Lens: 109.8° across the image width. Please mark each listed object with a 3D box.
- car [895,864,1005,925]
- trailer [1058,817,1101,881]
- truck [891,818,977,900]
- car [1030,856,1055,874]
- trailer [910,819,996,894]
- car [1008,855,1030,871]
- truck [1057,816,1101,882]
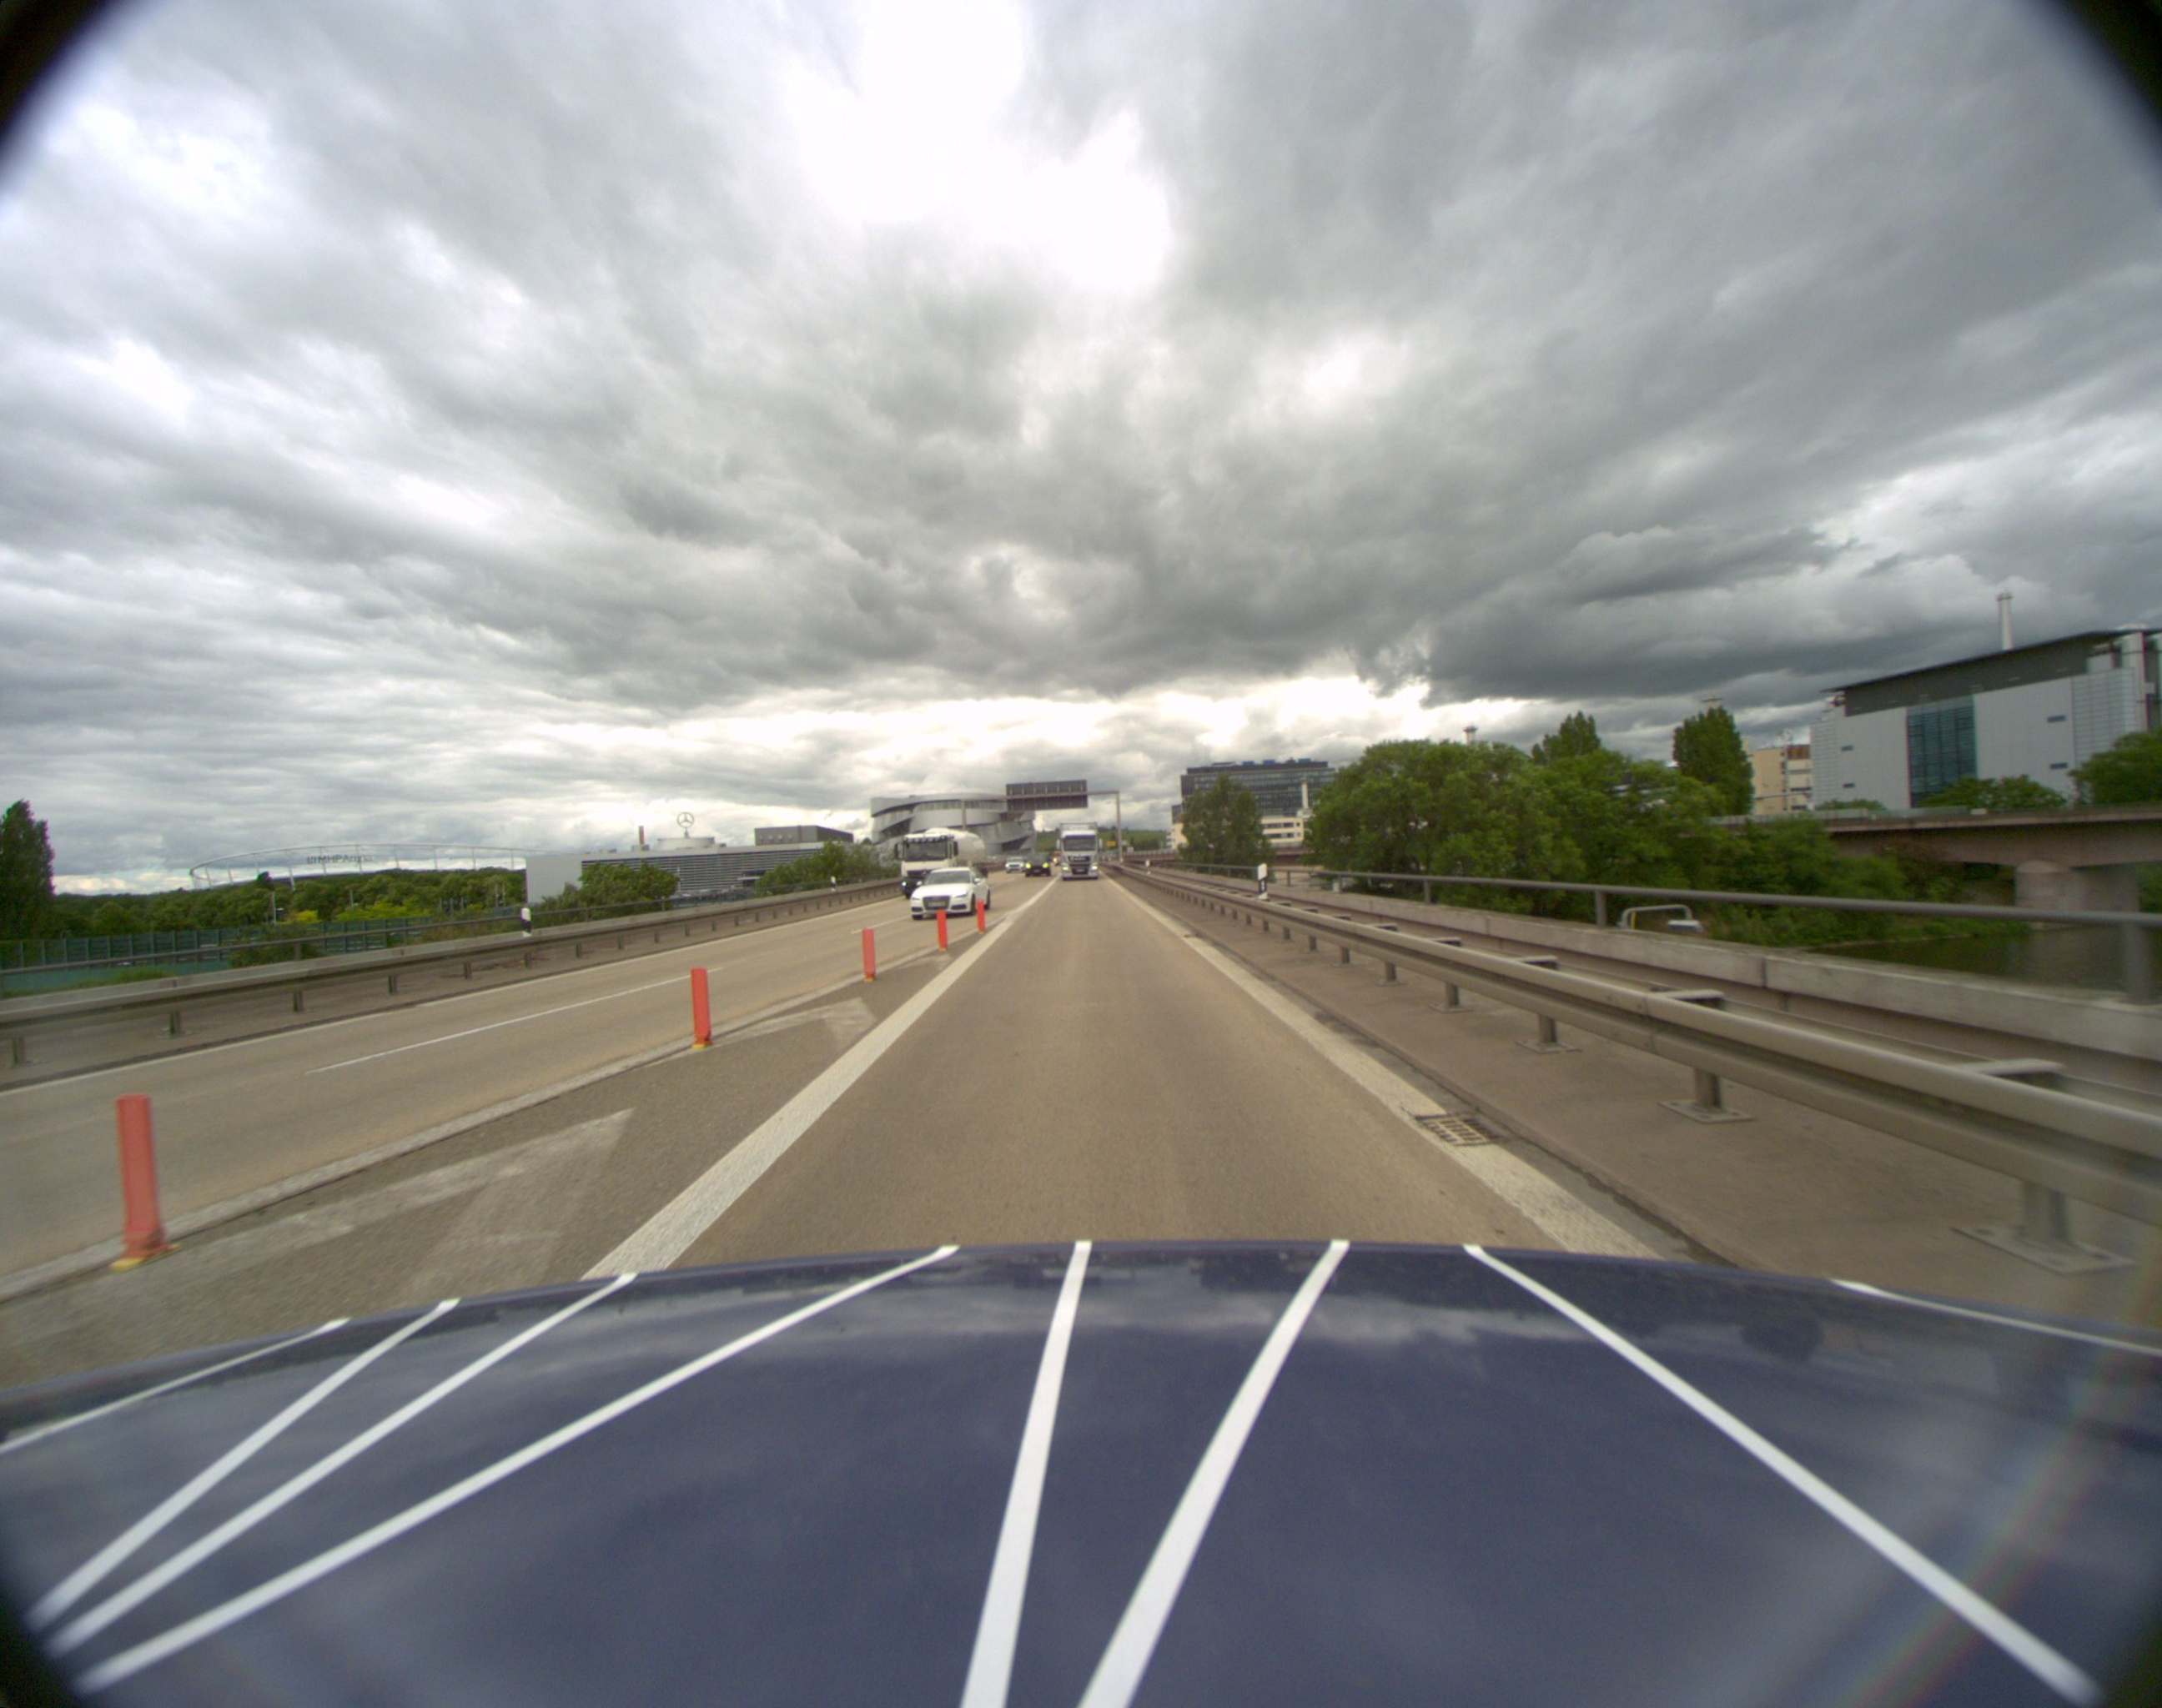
[{"bbox_3d":[-3.821,1.150,22.948,1.787,1.401,3.938,-6,0,12],"label":"car"},{"bbox_3d":[0.058,-0.426,58.029,2.747,4.213,13.446,-2,1,1],"label":"trailer"},{"bbox_3d":[-7.121,0.194,37.738,2.734,3.625,6.200,-2,1,2],"label":"truck"},{"bbox_3d":[-3.215,0.904,64.109,1.789,1.401,3.801,-2,1,1],"label":"car"},{"bbox_3d":[-7.024,0.056,43.484,2.747,3.628,11.004,-2,1,1],"label":"trailer"},{"bbox_3d":[-6.502,0.902,80.289,1.928,1.506,3.801,-2,1,1],"label":"car"},{"bbox_3d":[-0.067,-0.365,52.722,2.734,4.204,6.200,-2,1,1],"label":"truck"}]
